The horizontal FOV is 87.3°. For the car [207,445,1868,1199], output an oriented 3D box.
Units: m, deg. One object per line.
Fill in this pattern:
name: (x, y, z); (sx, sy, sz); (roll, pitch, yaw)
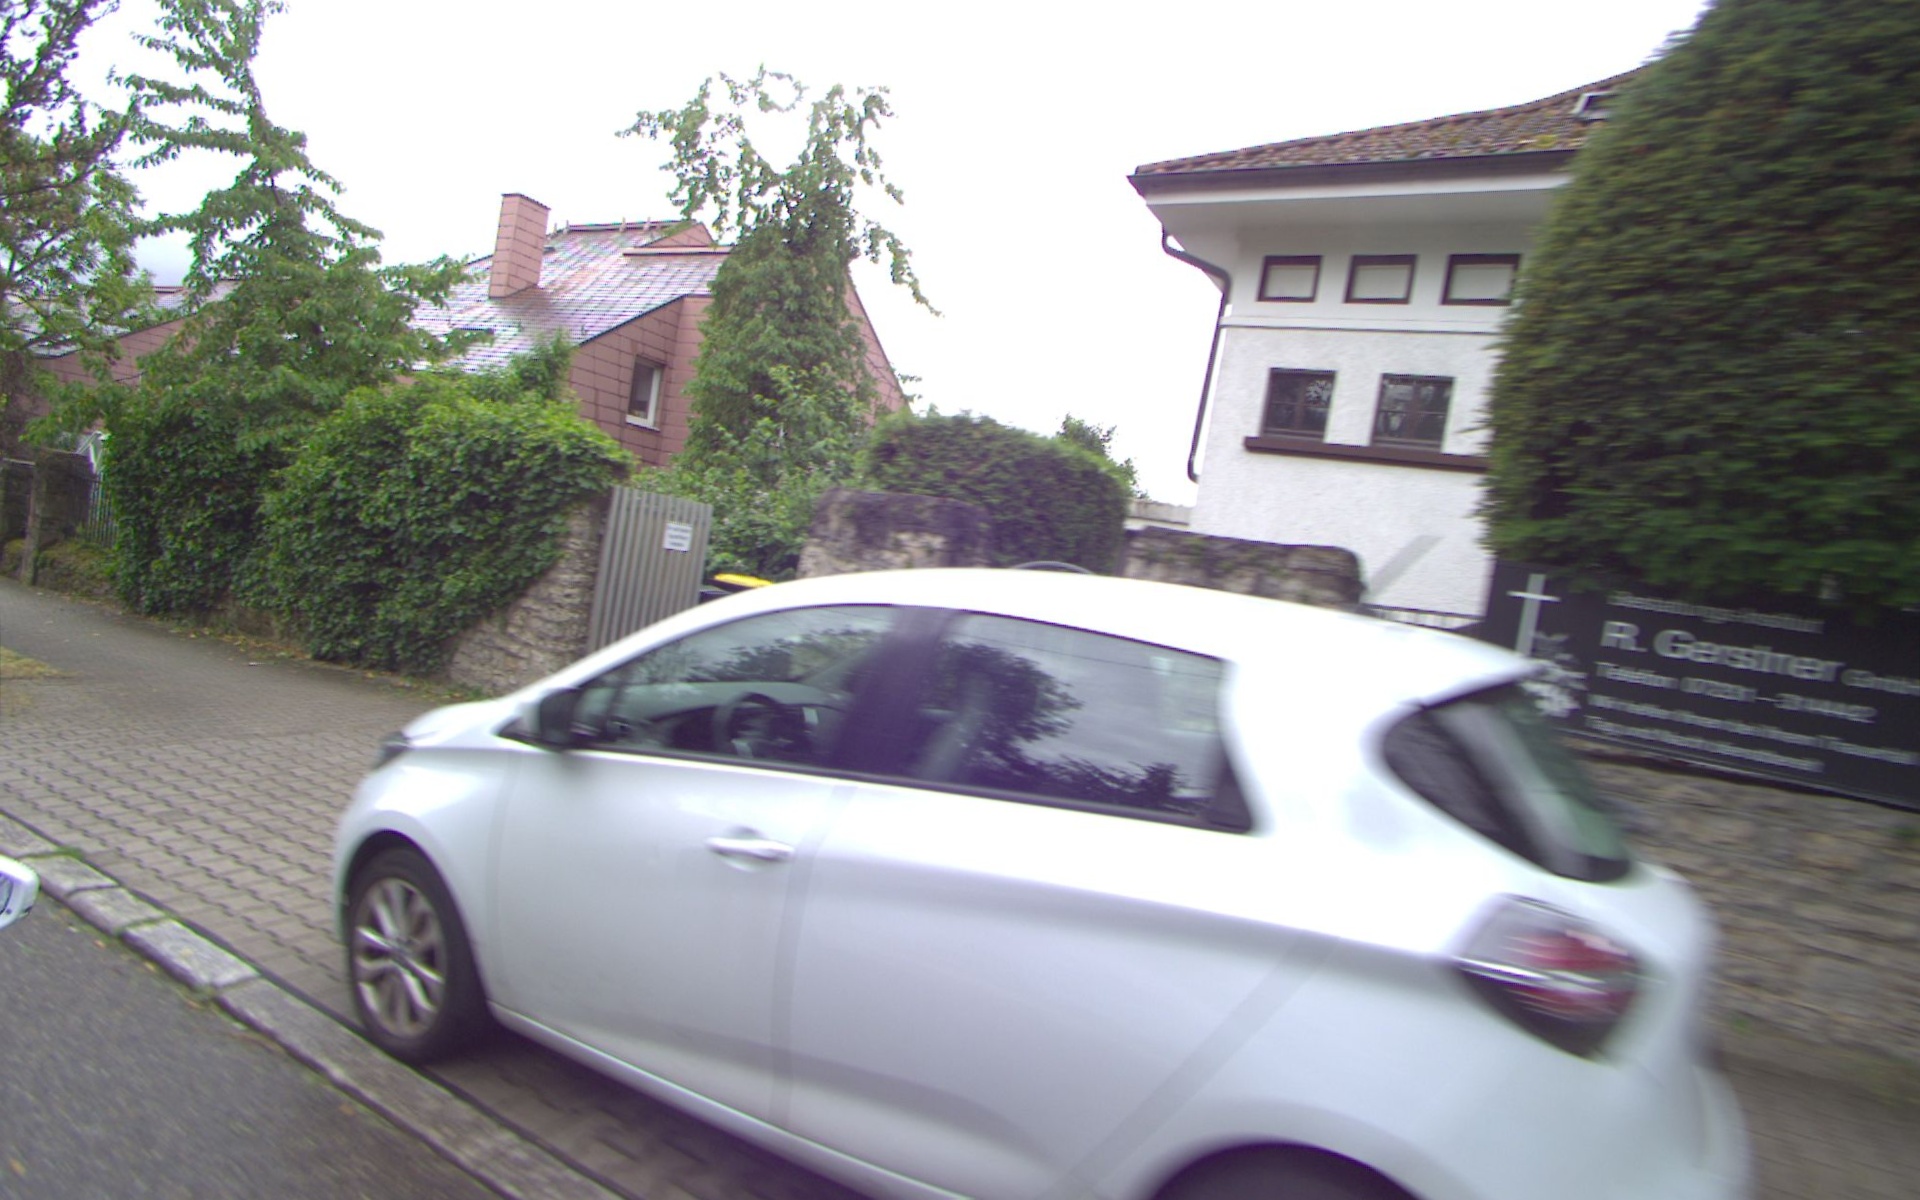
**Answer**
car: (-0.219, 0.561, 3.038); (3.932, 1.651, 1.826); (7, 1, 30)
